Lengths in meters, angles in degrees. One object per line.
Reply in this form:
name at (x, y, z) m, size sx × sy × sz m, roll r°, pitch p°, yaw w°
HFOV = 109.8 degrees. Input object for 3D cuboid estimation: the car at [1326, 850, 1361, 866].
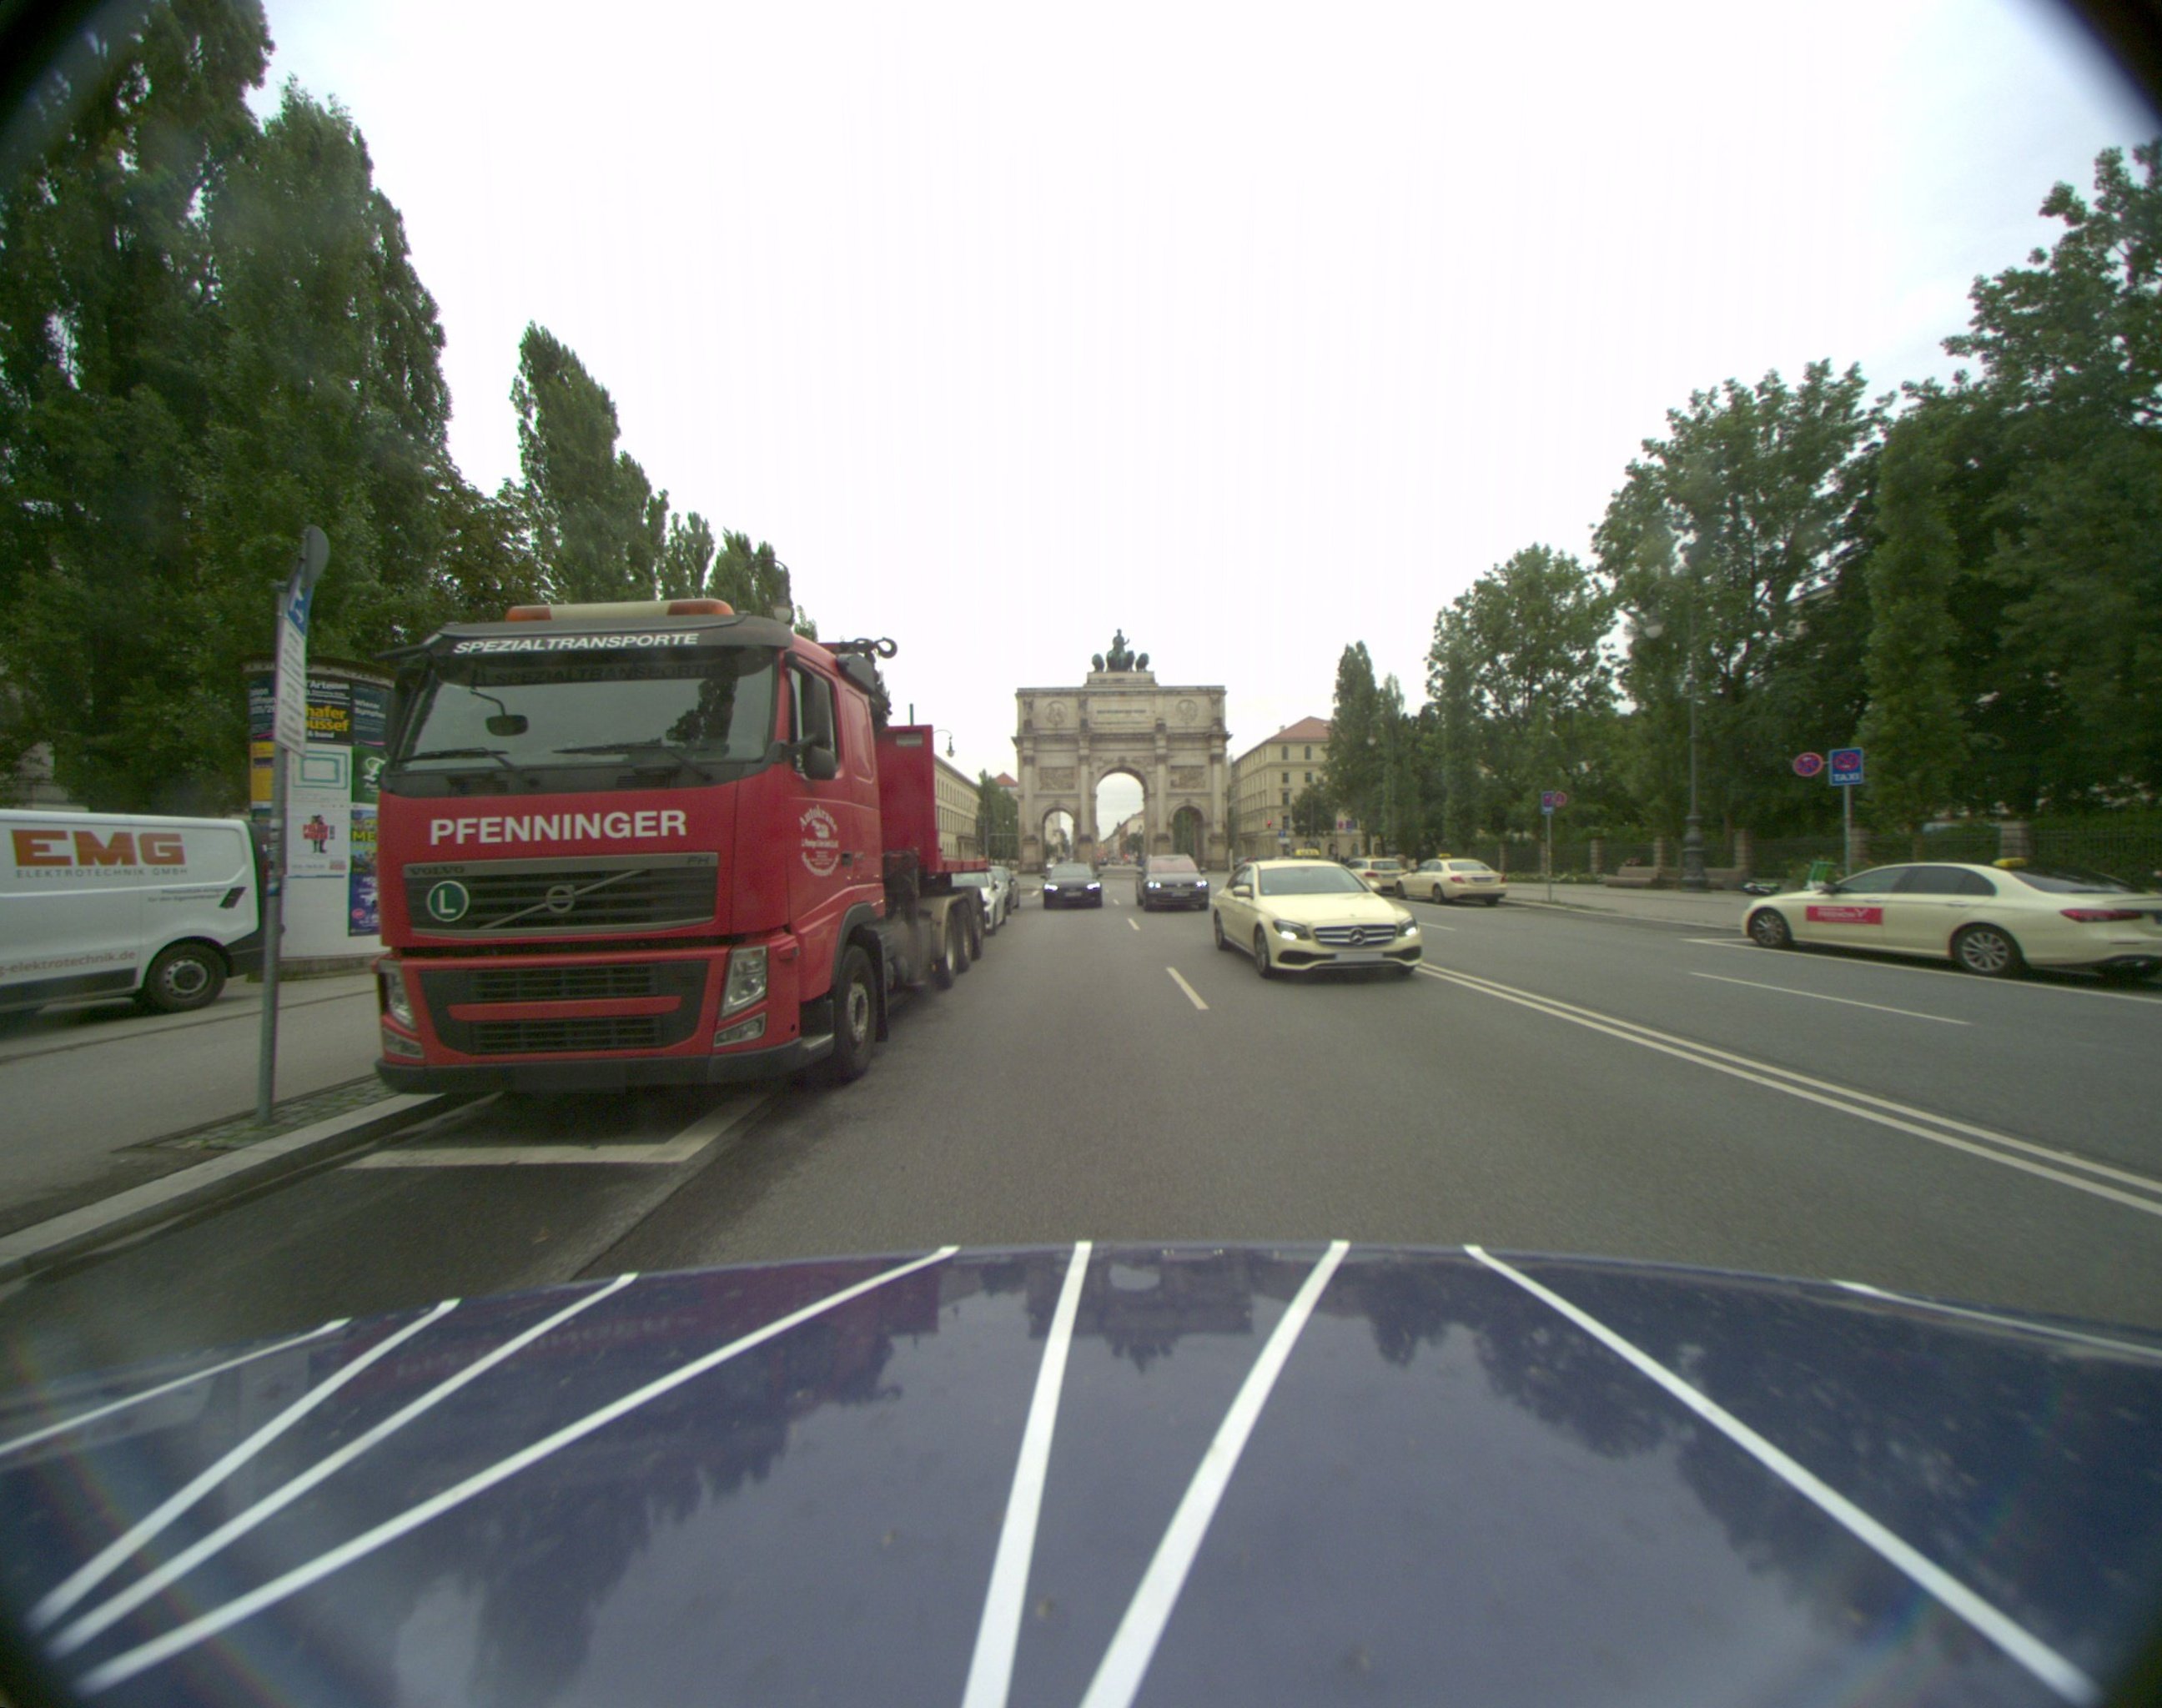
car at (34.743, 0.486, 100.639) m, size 3.997 × 2.002 × 2.000 m, roll -1°, pitch 0°, yaw 0°

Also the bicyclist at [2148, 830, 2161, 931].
bicyclist at (16.395, 0.388, 10.997) m, size 0.695 × 1.489 × 0.861 m, roll -1°, pitch 0°, yaw -1°

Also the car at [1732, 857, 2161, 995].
car at (12.084, 0.796, 10.615) m, size 1.935 × 1.488 × 4.791 m, roll 0°, pitch 0°, yaw 1°

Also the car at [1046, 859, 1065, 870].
car at (-4.138, 1.729, 124.386) m, size 1.785 × 1.739 × 4.326 m, roll -1°, pitch 0°, yaw 16°

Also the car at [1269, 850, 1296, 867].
car at (23.790, 0.473, 90.060) m, size 2.004 × 1.844 × 4.990 m, roll 0°, pitch 1°, yaw 2°

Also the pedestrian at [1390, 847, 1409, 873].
pedestrian at (20.497, 0.370, 48.914) m, size 0.846 × 1.668 × 0.967 m, roll -1°, pitch 0°, yaw 6°

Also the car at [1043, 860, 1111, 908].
car at (-0.228, 0.937, 25.306) m, size 1.923 × 1.320 × 4.409 m, roll -3°, pitch 0°, yaw -4°

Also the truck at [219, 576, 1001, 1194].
truck at (-2.920, 0.158, 9.055) m, size 2.720 × 3.092 × 10.426 m, roll -1°, pitch 0°, yaw 0°

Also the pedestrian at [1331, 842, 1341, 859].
pedestrian at (29.929, -0.386, 89.130) m, size 0.796 × 2.002 × 0.754 m, roll -1°, pitch 1°, yaw -35°

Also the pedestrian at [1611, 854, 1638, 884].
pedestrian at (24.391, 0.680, 34.101) m, size 0.578 × 1.329 × 0.838 m, roll -1°, pitch 0°, yaw -27°

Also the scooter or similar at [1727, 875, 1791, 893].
scooter or similar at (22.918, 0.995, 25.673) m, size 2.241 × 0.515 × 1.329 m, roll 0°, pitch 0°, yaw -41°

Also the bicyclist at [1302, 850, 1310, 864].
bicyclist at (28.220, 0.355, 95.183) m, size 0.643 × 1.699 × 0.859 m, roll -1°, pitch 0°, yaw -6°

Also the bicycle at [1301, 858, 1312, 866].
bicycle at (28.227, 0.972, 95.179) m, size 0.643 × 0.967 × 1.761 m, roll -1°, pitch 0°, yaw -6°

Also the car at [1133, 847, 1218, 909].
car at (2.726, 0.637, 22.894) m, size 1.953 × 1.615 × 4.411 m, roll -3°, pitch 1°, yaw 0°

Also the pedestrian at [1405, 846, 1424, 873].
pedestrian at (21.325, 0.348, 48.557) m, size 0.846 × 1.668 × 0.967 m, roll -1°, pitch 0°, yaw 6°

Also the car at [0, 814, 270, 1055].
car at (-9.596, 0.682, 5.642) m, size 1.885 × 1.933 × 4.884 m, roll -3°, pitch 0°, yaw -1°

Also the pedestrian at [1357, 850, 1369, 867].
pedestrian at (30.003, 0.478, 80.809) m, size 0.915 × 1.775 × 0.753 m, roll -1°, pitch 0°, yaw -13°

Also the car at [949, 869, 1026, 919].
car at (-2.779, 1.160, 23.407) m, size 1.739 × 1.302 × 4.370 m, roll -1°, pitch 0°, yaw 1°

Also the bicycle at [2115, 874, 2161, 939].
bicycle at (16.400, 0.786, 10.914) m, size 0.709 × 0.933 × 1.735 m, roll -2°, pitch 0°, yaw -1°

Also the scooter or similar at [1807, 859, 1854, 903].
scooter or similar at (21.381, 0.756, 21.704) m, size 0.243 × 1.194 × 1.122 m, roll -1°, pitch 0°, yaw 0°

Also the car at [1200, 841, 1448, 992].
car at (3.051, 0.673, 10.720) m, size 1.919 × 1.566 × 4.688 m, roll -3°, pitch 0°, yaw 0°

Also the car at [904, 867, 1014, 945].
car at (-2.634, 1.084, 17.402) m, size 1.792 × 1.451 × 4.217 m, roll -2°, pitch 0°, yaw 0°

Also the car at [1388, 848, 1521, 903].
car at (12.168, 0.625, 25.191) m, size 1.942 × 1.615 × 4.964 m, roll 0°, pitch 1°, yaw 0°

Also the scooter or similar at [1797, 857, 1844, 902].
scooter or similar at (21.108, 0.711, 21.707) m, size 0.258 × 1.235 × 1.141 m, roll -1°, pitch 0°, yaw 1°

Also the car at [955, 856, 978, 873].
car at (-13.566, 1.202, 90.260) m, size 1.889 × 1.846 × 4.313 m, roll -1°, pitch 0°, yaw 1°

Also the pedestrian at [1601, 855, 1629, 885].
pedestrian at (23.739, 0.698, 33.783) m, size 0.578 × 1.329 × 0.838 m, roll -1°, pitch 0°, yaw -26°

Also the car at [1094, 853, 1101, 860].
car at (4.657, 0.605, 216.208) m, size 1.999 × 2.002 × 4.394 m, roll -1°, pitch 0°, yaw 0°

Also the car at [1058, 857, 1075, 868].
car at (-2.479, 1.481, 129.711) m, size 1.785 × 1.739 × 4.326 m, roll -1°, pitch 0°, yaw 16°

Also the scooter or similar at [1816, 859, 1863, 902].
scooter or similar at (21.645, 0.749, 21.699) m, size 0.243 × 1.194 × 1.122 m, roll -1°, pitch 0°, yaw 0°

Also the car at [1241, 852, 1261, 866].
car at (19.991, 0.589, 89.642) m, size 1.785 × 1.662 × 4.001 m, roll -1°, pitch 0°, yaw 5°

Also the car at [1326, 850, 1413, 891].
car at (12.040, 0.625, 32.087) m, size 1.823 × 1.550 × 4.858 m, roll 1°, pitch 1°, yaw 0°
